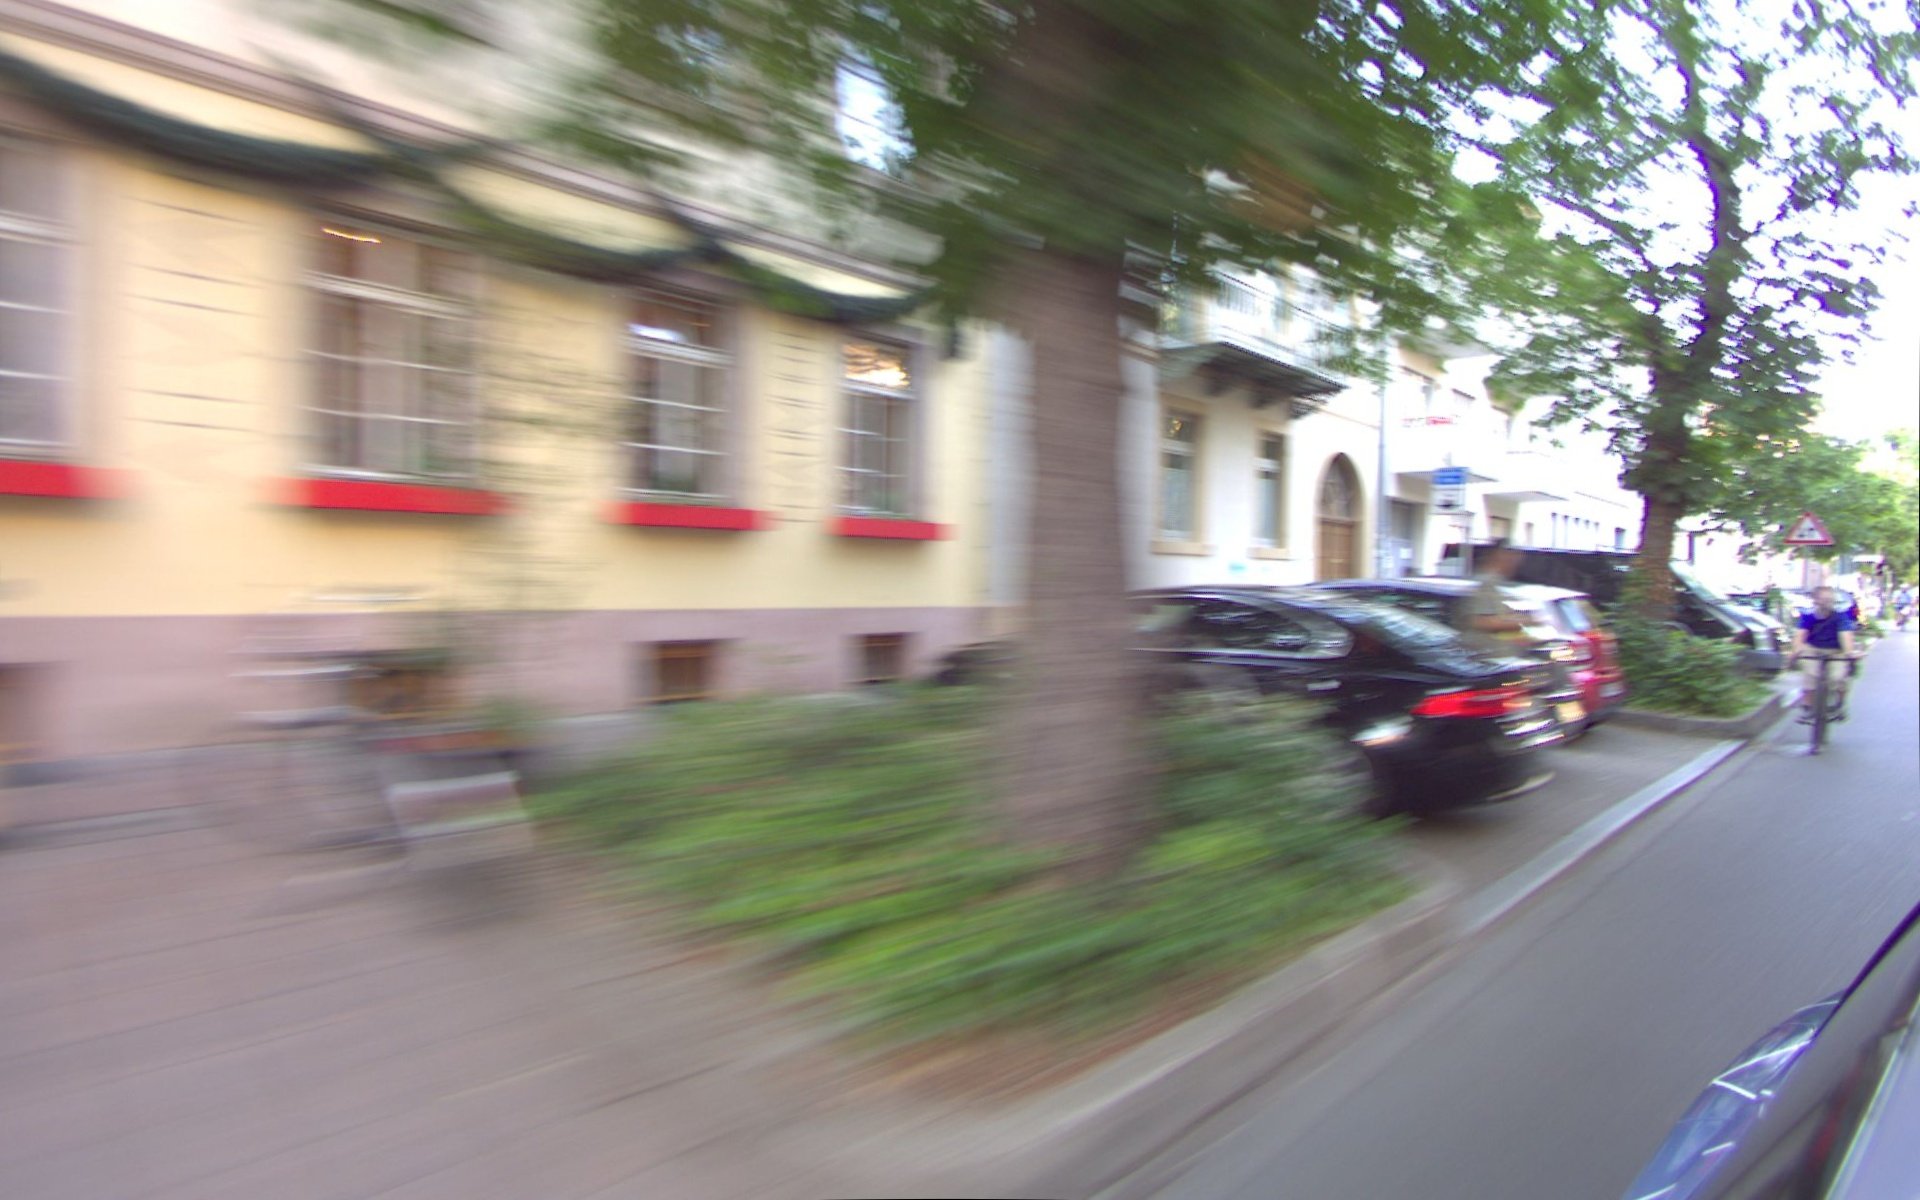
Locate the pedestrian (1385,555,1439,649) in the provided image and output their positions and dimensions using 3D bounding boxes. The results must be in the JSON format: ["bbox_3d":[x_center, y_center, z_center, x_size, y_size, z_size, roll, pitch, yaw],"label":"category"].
[{"bbox_3d":[8.054,0.032,18.027,0.669,1.619,0.725,0,0,45],"label":"pedestrian"}]

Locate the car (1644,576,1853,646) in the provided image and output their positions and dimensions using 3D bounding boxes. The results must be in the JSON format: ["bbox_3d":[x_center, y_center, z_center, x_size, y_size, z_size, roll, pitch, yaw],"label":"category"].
[{"bbox_3d":[20.894,0.233,26.927,1.787,1.446,4.082,0,5,-43],"label":"car"}]

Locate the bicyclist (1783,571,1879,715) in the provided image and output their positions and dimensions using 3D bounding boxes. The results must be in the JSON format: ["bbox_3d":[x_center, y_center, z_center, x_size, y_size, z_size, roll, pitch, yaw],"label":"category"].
[{"bbox_3d":[8.783,0.414,10.203,0.764,1.381,0.672,0,-1,-45],"label":"bicyclist"}]

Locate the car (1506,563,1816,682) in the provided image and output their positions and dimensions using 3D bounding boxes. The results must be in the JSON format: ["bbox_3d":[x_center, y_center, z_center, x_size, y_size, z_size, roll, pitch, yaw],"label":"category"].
[{"bbox_3d":[12.206,0.287,17.796,4.158,1.597,1.939,6,5,44],"label":"car"}]

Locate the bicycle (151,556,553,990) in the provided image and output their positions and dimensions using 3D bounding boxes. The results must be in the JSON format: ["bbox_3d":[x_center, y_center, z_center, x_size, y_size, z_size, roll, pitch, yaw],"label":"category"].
[{"bbox_3d":[-2.383,0.501,3.871,1.790,1.247,0.665,5,3,36],"label":"bicycle"}]

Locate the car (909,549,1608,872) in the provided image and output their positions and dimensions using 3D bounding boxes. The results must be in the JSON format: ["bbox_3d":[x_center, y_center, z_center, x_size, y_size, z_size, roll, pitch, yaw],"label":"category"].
[{"bbox_3d":[1.843,0.472,7.255,4.402,1.410,1.856,6,5,43],"label":"car"}]

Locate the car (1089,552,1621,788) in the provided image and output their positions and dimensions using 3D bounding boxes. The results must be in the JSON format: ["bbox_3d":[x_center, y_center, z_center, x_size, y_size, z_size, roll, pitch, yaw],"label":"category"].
[{"bbox_3d":[3.368,0.413,9.114,3.990,1.455,1.896,6,5,44],"label":"car"}]

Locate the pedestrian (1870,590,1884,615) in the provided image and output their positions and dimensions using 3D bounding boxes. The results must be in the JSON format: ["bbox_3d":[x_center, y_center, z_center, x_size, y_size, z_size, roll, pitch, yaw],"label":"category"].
[{"bbox_3d":[47.001,0.135,51.884,0.449,1.277,0.483,4,2,39],"label":"pedestrian"}]

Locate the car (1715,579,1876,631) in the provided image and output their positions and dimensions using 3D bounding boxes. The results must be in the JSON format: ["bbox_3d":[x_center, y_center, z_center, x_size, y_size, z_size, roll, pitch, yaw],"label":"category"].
[{"bbox_3d":[28.701,0.125,34.839,1.929,1.637,4.113,0,1,-44],"label":"car"}]

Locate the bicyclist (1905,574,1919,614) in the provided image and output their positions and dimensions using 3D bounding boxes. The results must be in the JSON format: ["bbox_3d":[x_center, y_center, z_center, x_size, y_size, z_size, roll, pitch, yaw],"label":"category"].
[{"bbox_3d":[38.047,-0.243,40.235,0.635,1.581,0.806,-2,-2,43],"label":"bicyclist"}]

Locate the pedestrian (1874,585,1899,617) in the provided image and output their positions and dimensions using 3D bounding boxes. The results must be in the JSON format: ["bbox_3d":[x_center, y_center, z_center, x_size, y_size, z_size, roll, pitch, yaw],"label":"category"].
[{"bbox_3d":[46.721,0.047,51.036,0.591,1.530,0.717,3,2,16],"label":"pedestrian"}]

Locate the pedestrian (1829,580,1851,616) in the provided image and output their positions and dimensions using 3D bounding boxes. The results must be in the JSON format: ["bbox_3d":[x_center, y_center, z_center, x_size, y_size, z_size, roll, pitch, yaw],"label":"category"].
[{"bbox_3d":[45.749,-0.114,52.628,0.534,1.796,0.576,2,2,-1],"label":"pedestrian"}]

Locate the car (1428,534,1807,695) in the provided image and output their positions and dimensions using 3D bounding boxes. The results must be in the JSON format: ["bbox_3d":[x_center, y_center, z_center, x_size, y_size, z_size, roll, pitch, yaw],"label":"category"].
[{"bbox_3d":[10.344,0.085,16.201,4.694,2.035,2.005,7,5,45],"label":"car"}]

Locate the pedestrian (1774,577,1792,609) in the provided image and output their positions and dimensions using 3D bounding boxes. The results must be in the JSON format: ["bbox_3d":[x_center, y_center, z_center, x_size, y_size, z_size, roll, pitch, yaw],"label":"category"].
[{"bbox_3d":[48.592,-0.424,59.747,0.697,1.878,1.033,3,2,43],"label":"pedestrian"}]

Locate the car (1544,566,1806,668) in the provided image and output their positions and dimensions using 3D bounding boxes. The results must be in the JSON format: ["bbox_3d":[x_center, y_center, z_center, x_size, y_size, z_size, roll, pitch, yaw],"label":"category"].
[{"bbox_3d":[14.195,0.256,20.224,3.968,1.597,1.822,6,5,44],"label":"car"}]

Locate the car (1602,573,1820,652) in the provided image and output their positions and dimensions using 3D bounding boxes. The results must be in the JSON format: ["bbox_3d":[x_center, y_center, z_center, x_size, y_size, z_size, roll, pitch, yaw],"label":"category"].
[{"bbox_3d":[17.254,0.226,23.371,3.796,1.440,1.671,7,5,44],"label":"car"}]

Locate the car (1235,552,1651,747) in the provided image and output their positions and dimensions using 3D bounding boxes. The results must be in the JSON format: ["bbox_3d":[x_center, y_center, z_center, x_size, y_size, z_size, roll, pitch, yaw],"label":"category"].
[{"bbox_3d":[5.133,0.384,11.081,1.686,1.597,3.685,0,5,-44],"label":"car"}]

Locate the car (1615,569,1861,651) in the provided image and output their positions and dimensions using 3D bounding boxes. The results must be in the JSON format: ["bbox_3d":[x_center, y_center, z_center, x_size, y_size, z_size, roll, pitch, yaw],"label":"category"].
[{"bbox_3d":[19.273,0.169,25.217,4.594,1.597,1.913,7,5,44],"label":"car"}]

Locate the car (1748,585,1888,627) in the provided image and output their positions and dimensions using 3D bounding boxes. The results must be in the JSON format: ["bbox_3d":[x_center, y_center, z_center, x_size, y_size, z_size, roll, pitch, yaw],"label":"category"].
[{"bbox_3d":[33.228,0.197,39.262,1.765,1.455,3.990,0,1,-44],"label":"car"}]

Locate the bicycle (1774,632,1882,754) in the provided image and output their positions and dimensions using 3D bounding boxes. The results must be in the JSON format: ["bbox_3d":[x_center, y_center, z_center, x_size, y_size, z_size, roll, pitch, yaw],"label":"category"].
[{"bbox_3d":[8.695,0.875,10.112,0.672,1.043,1.945,-1,-1,45],"label":"bicycle"}]

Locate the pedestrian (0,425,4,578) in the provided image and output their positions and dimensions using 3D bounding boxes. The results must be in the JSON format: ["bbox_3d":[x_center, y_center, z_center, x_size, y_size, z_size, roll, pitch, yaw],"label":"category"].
[{"bbox_3d":[-4.417,0.146,4.060,0.704,1.760,0.717,4,2,37],"label":"pedestrian"}]

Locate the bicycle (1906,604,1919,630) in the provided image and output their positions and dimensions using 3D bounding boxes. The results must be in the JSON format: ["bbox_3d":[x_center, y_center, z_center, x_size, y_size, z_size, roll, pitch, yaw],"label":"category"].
[{"bbox_3d":[38.056,0.665,40.216,0.635,0.996,1.950,-2,-2,43],"label":"bicycle"}]

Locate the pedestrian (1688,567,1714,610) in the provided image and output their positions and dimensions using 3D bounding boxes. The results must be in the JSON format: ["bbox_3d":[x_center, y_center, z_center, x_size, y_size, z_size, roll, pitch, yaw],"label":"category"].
[{"bbox_3d":[31.540,-0.498,43.050,1.048,1.817,0.698,0,1,-45],"label":"pedestrian"}]
